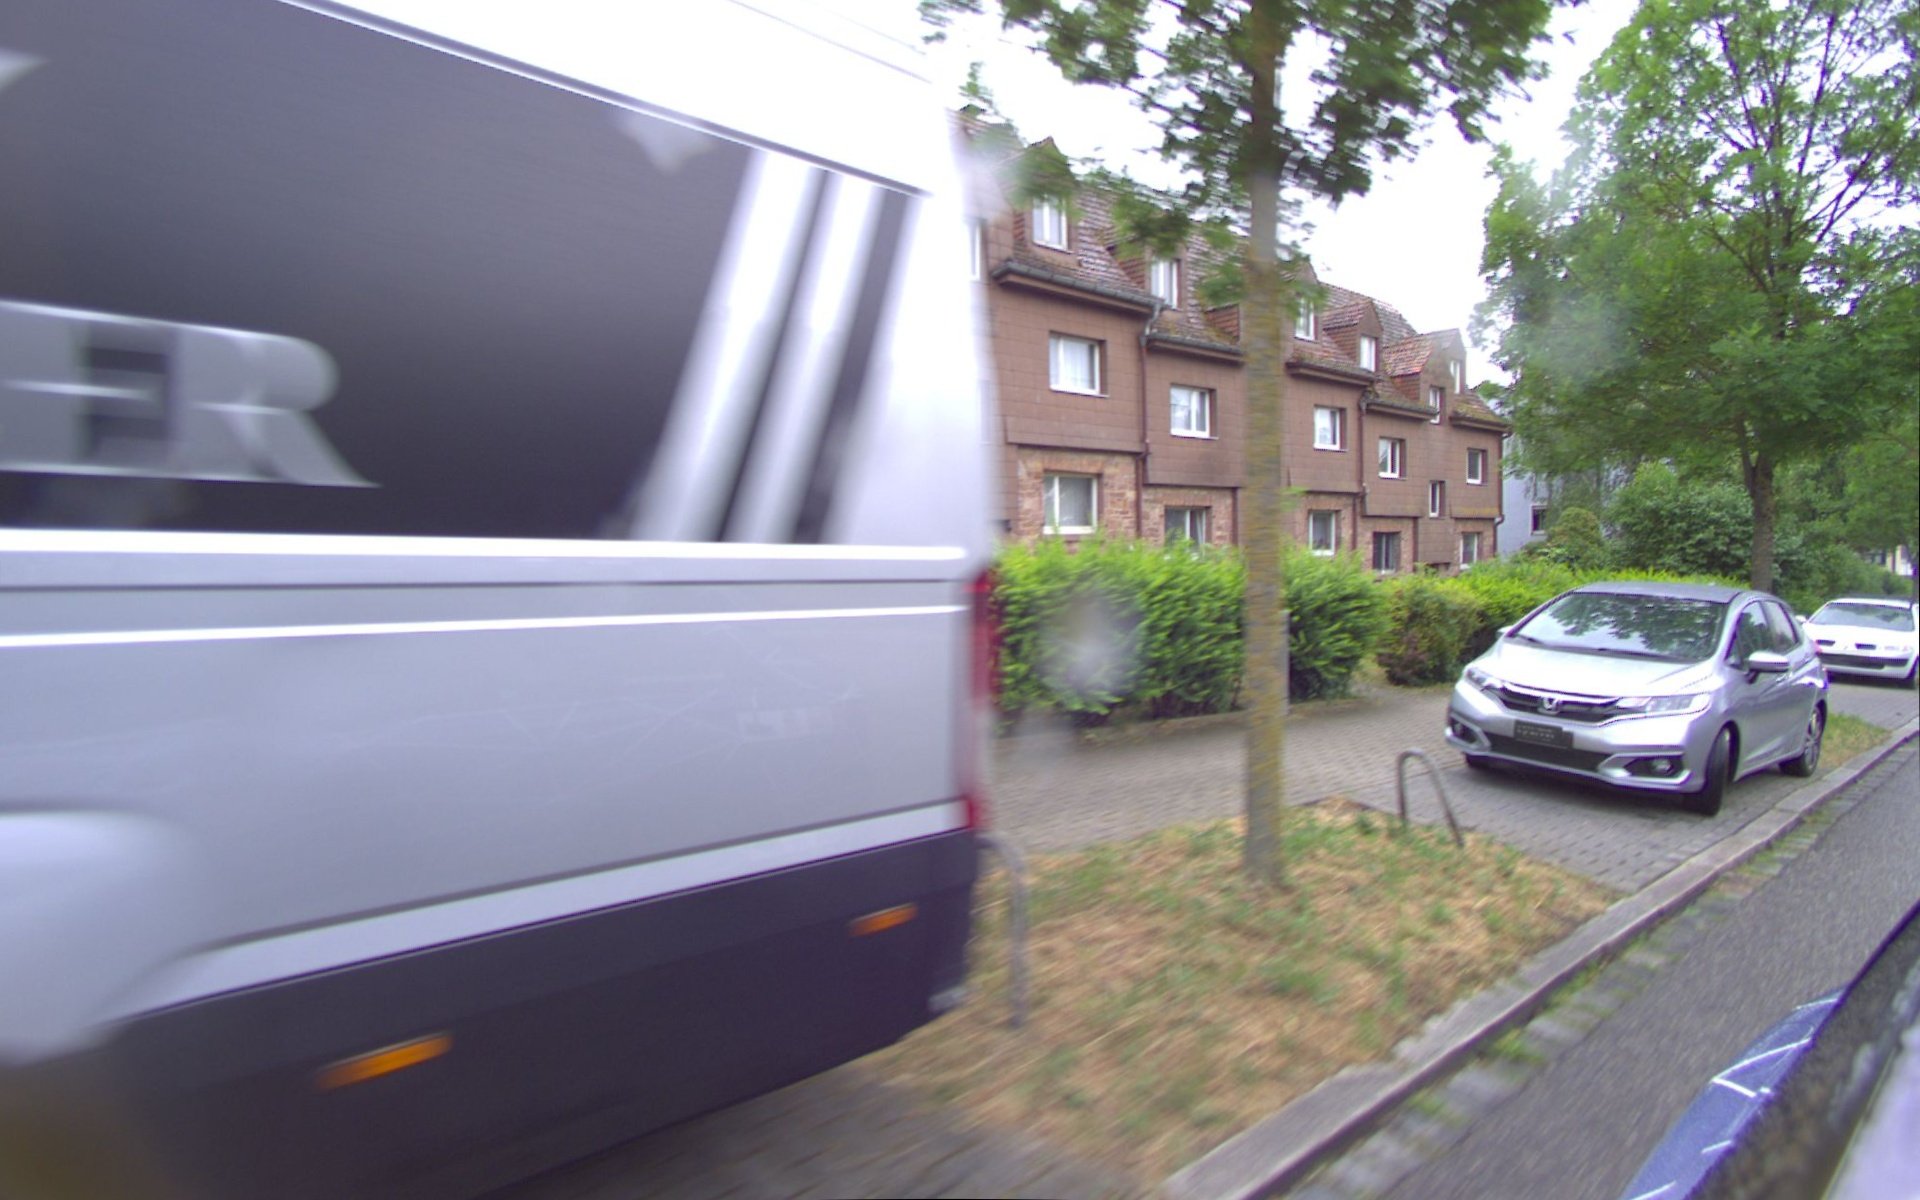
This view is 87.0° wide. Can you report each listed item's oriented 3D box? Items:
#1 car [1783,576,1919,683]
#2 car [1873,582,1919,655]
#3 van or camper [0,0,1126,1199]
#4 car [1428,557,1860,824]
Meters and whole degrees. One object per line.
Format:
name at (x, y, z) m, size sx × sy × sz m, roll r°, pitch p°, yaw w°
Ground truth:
car at (16.629, 0.477, 18.202) m, size 4.391 × 1.622 × 1.830 m, roll 1°, pitch 3°, yaw -38°
car at (24.479, 0.478, 25.345) m, size 4.504 × 1.698 × 1.828 m, roll 0°, pitch 3°, yaw -42°
van or camper at (-3.115, -0.119, 0.801) m, size 7.172 × 2.683 × 2.203 m, roll 0°, pitch 3°, yaw -40°
car at (5.486, 0.527, 7.964) m, size 3.762 × 1.546 × 1.674 m, roll 0°, pitch 5°, yaw -38°
